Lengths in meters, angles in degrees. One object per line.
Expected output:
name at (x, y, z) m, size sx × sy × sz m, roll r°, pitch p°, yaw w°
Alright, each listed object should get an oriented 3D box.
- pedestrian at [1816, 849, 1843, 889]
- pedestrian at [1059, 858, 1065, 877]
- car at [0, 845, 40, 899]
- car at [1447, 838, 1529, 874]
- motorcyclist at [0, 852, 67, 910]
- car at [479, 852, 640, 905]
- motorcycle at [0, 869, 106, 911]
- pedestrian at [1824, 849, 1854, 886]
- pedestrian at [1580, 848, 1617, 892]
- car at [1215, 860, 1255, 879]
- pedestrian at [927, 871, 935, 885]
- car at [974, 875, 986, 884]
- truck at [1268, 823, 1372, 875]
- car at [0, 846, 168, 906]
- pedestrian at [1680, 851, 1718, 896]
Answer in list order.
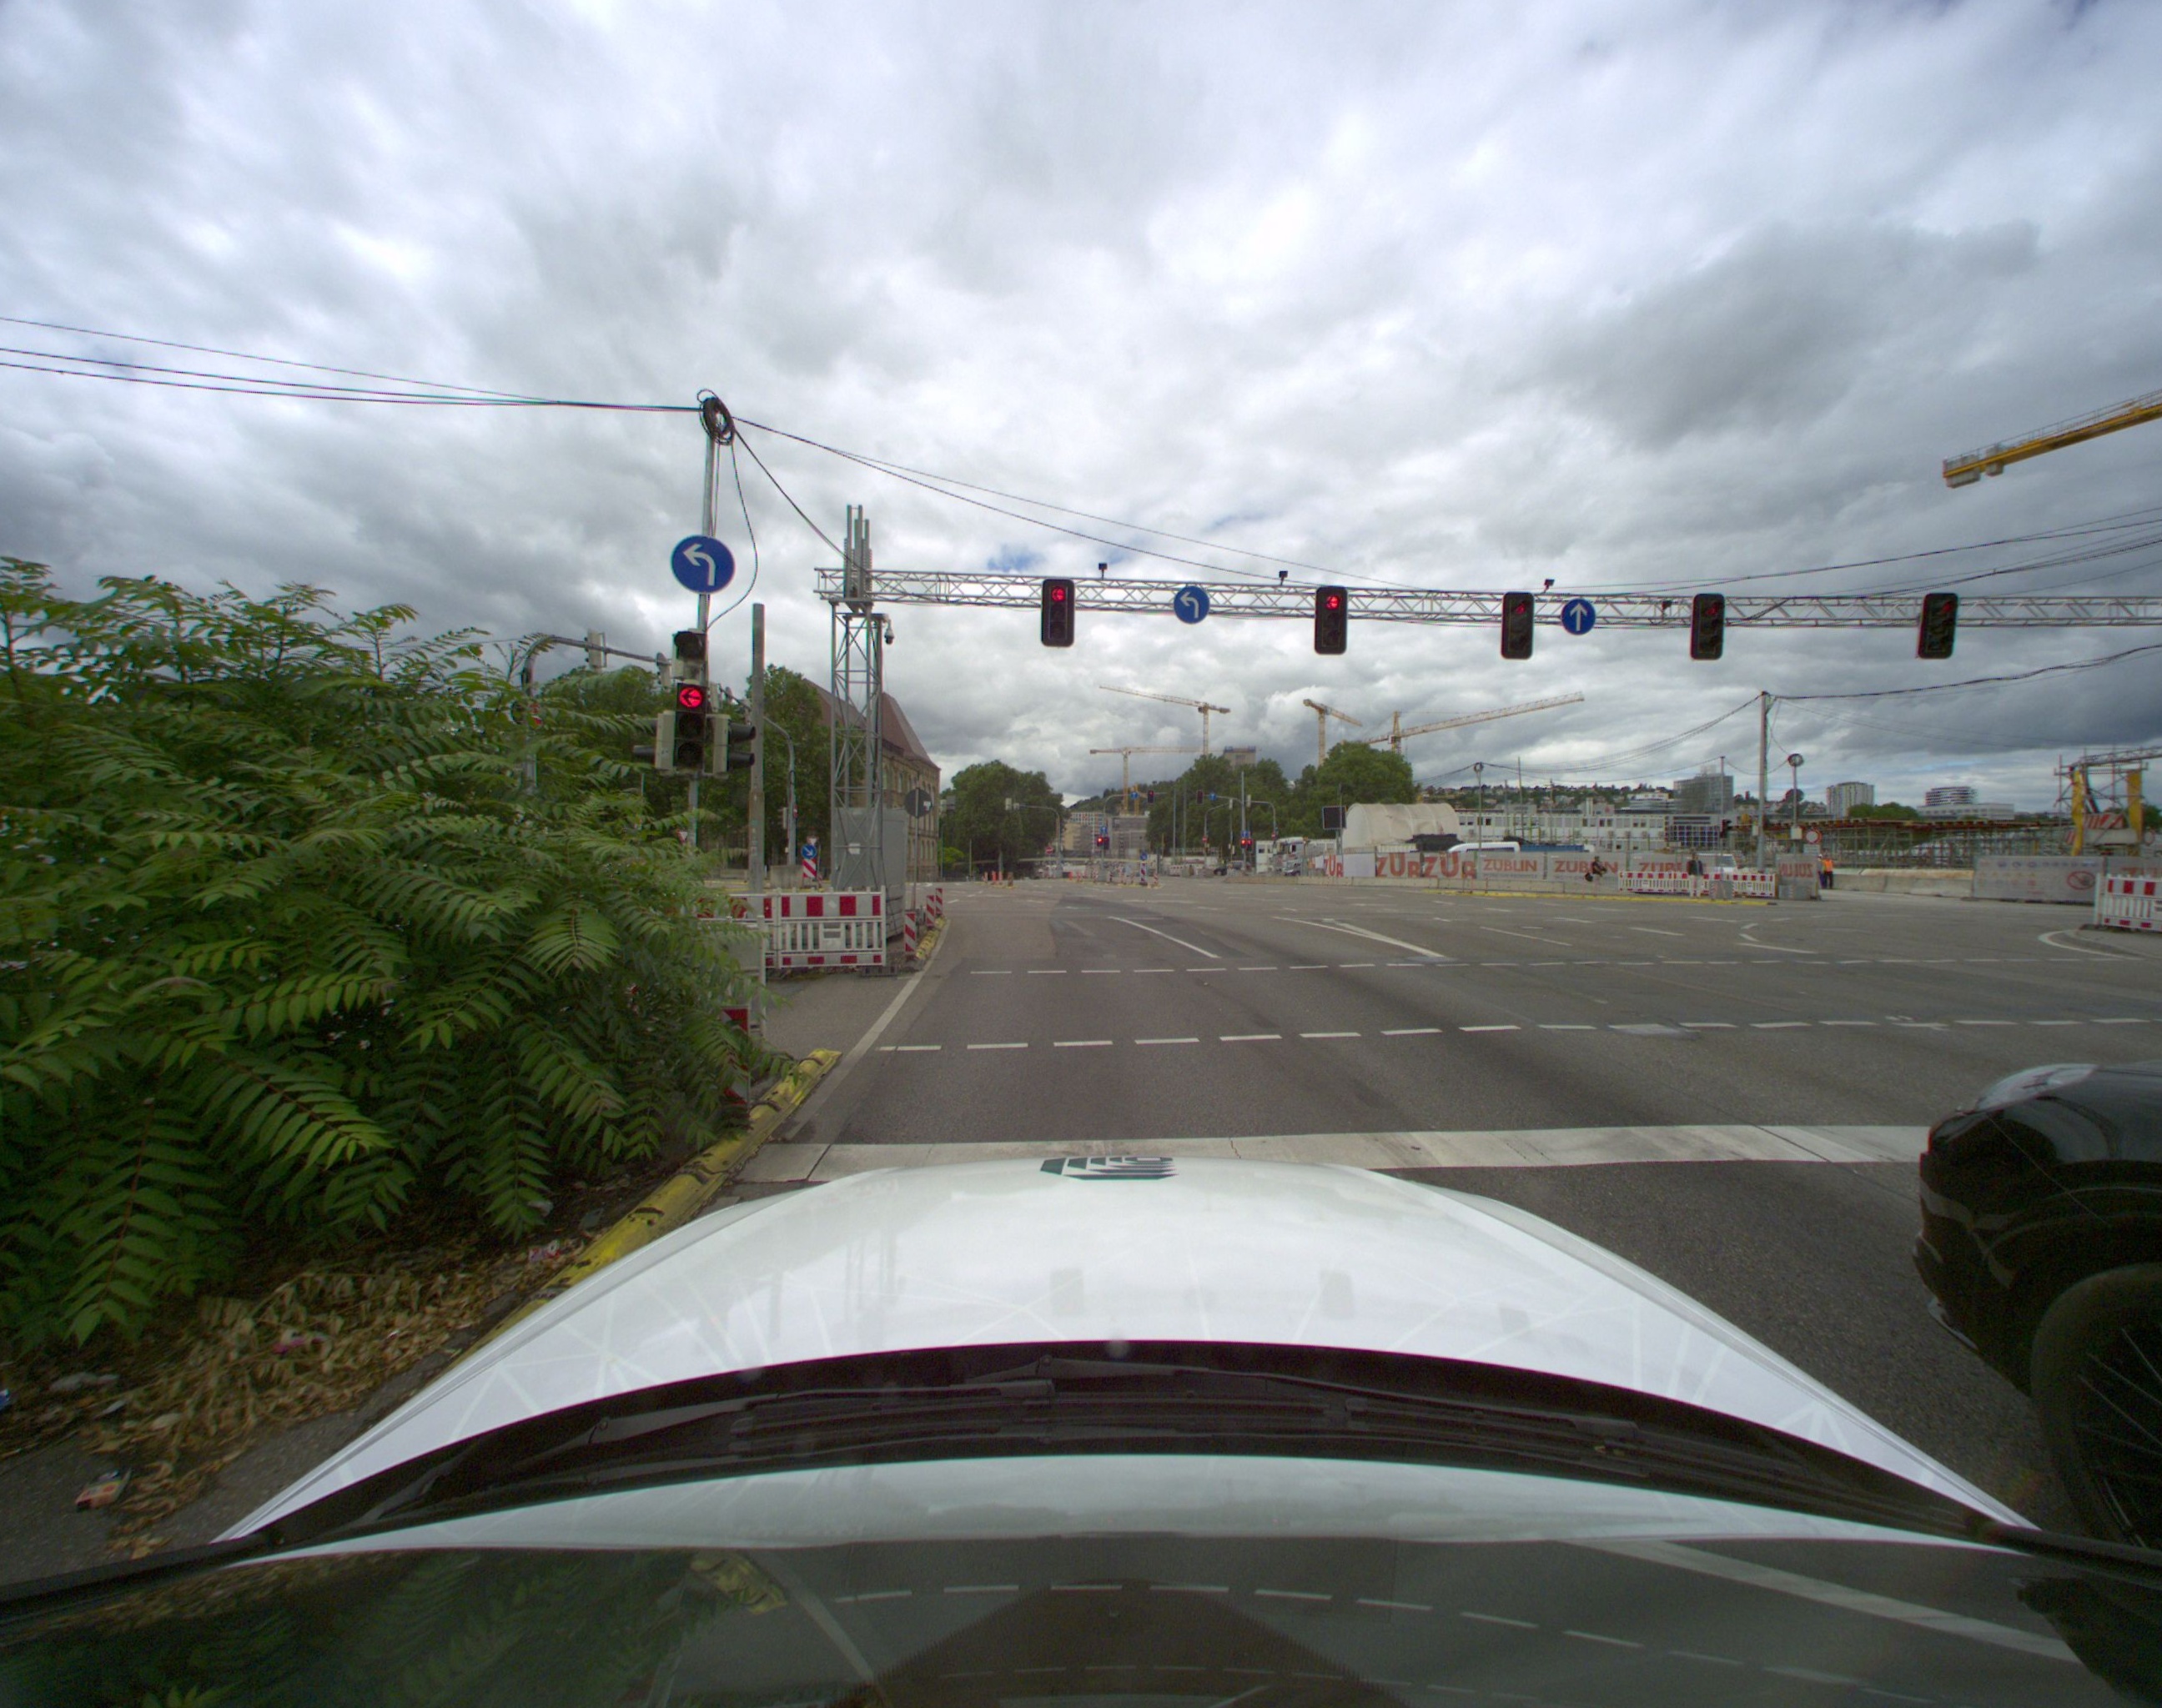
pedestrian at (38.286, 0.744, 41.660) m, size 0.673 × 2.014 × 0.869 m, roll -1°, pitch -1°, yaw 14°
pedestrian at (-1.878, 1.354, 81.011) m, size 0.583 × 1.840 × 0.604 m, roll 0°, pitch -1°, yaw -2°
car at (-32.854, 0.536, 23.073) m, size 4.094 × 1.547 × 2.000 m, roll 0°, pitch -1°, yaw 0°
car at (23.466, 0.121, 47.103) m, size 3.955 × 2.014 × 2.009 m, roll -1°, pitch -1°, yaw 17°
motorcyclist at (-25.498, 0.654, 19.795) m, size 0.786 × 1.380 × 0.697 m, roll -1°, pitch -1°, yaw -2°
car at (-18.613, 0.831, 29.346) m, size 4.504 × 1.759 × 1.987 m, roll -1°, pitch 0°, yaw -19°
motorcycle at (-25.358, 0.873, 19.807) m, size 2.342 × 0.941 × 0.697 m, roll -1°, pitch -1°, yaw -2°
pedestrian at (39.102, 0.683, 42.027) m, size 0.677 × 1.916 × 0.865 m, roll 0°, pitch -1°, yaw -4°
pedestrian at (24.204, 0.742, 38.103) m, size 1.048 × 2.014 × 1.025 m, roll 0°, pitch -1°, yaw -27°
car at (17.030, 1.743, 90.213) m, size 3.952 × 2.014 × 2.011 m, roll -1°, pitch -1°, yaw 22°
pedestrian at (-21.280, 3.417, 115.354) m, size 0.946 × 2.014 × 0.767 m, roll 0°, pitch -1°, yaw 3°
car at (-21.396, 5.432, 173.129) m, size 1.987 × 1.838 × 3.998 m, roll 0°, pitch -1°, yaw -1°
truck at (23.608, -0.522, 80.619) m, size 9.734 × 4.961 × 3.097 m, roll 0°, pitch -1°, yaw -16°
car at (-27.918, 0.589, 22.016) m, size 4.095 × 1.547 × 1.999 m, roll 0°, pitch -1°, yaw -2°
pedestrian at (25.813, 0.796, 34.028) m, size 1.035 × 1.848 × 0.794 m, roll -1°, pitch -1°, yaw 17°
